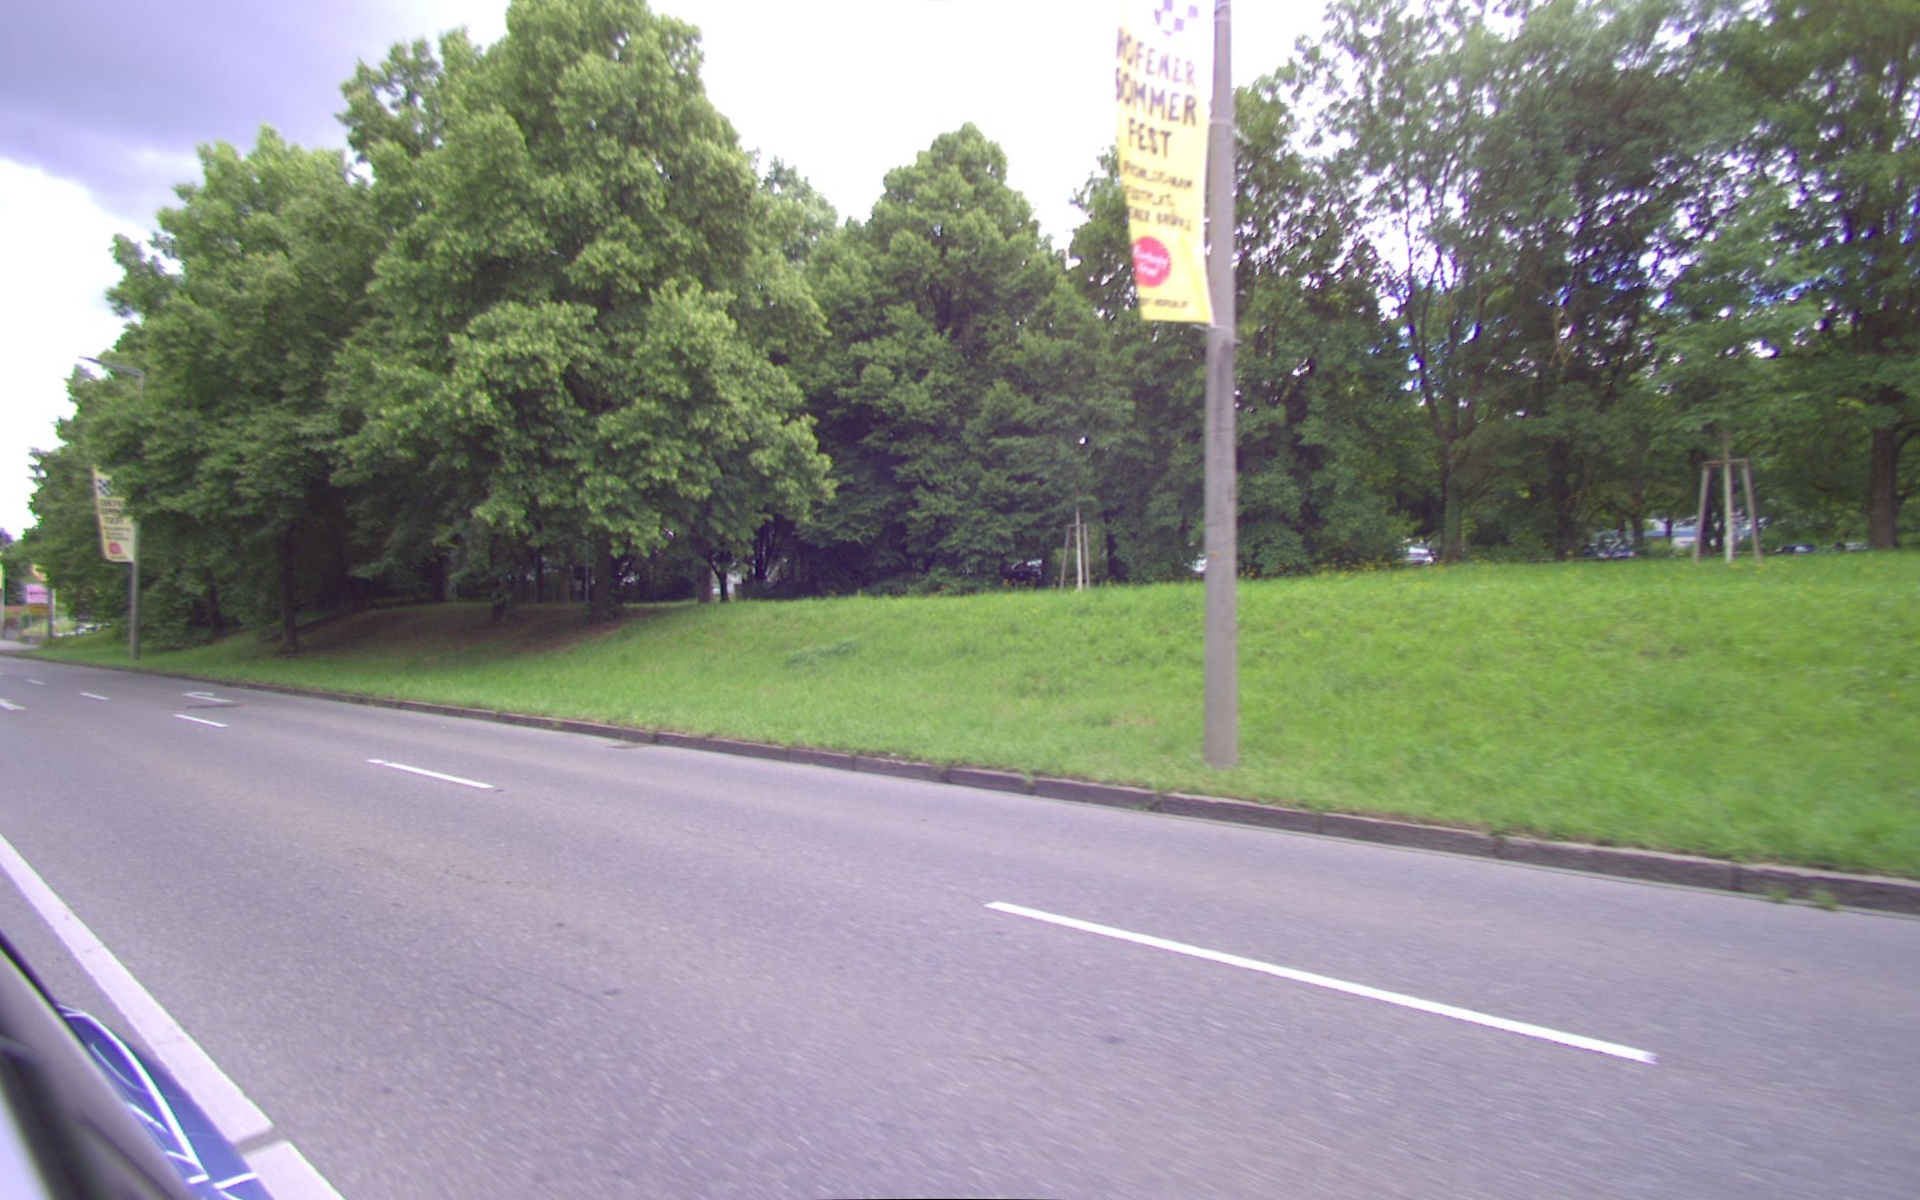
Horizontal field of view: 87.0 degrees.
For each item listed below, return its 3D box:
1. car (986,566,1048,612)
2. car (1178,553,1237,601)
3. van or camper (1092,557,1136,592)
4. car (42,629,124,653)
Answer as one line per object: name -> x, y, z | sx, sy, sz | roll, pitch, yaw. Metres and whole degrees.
car -> 2.646, -0.473, 46.065 | 1.980, 1.910, 4.883 | -1, 0, 13
car -> 10.674, -0.931, 43.807 | 2.298, 1.910, 4.883 | -1, 0, 13
van or camper -> 9.532, -1.513, 62.384 | 1.911, 2.029, 4.194 | -1, 0, 20
car -> -63.020, 2.911, 72.746 | 1.746, 1.503, 4.169 | -4, -2, 37
